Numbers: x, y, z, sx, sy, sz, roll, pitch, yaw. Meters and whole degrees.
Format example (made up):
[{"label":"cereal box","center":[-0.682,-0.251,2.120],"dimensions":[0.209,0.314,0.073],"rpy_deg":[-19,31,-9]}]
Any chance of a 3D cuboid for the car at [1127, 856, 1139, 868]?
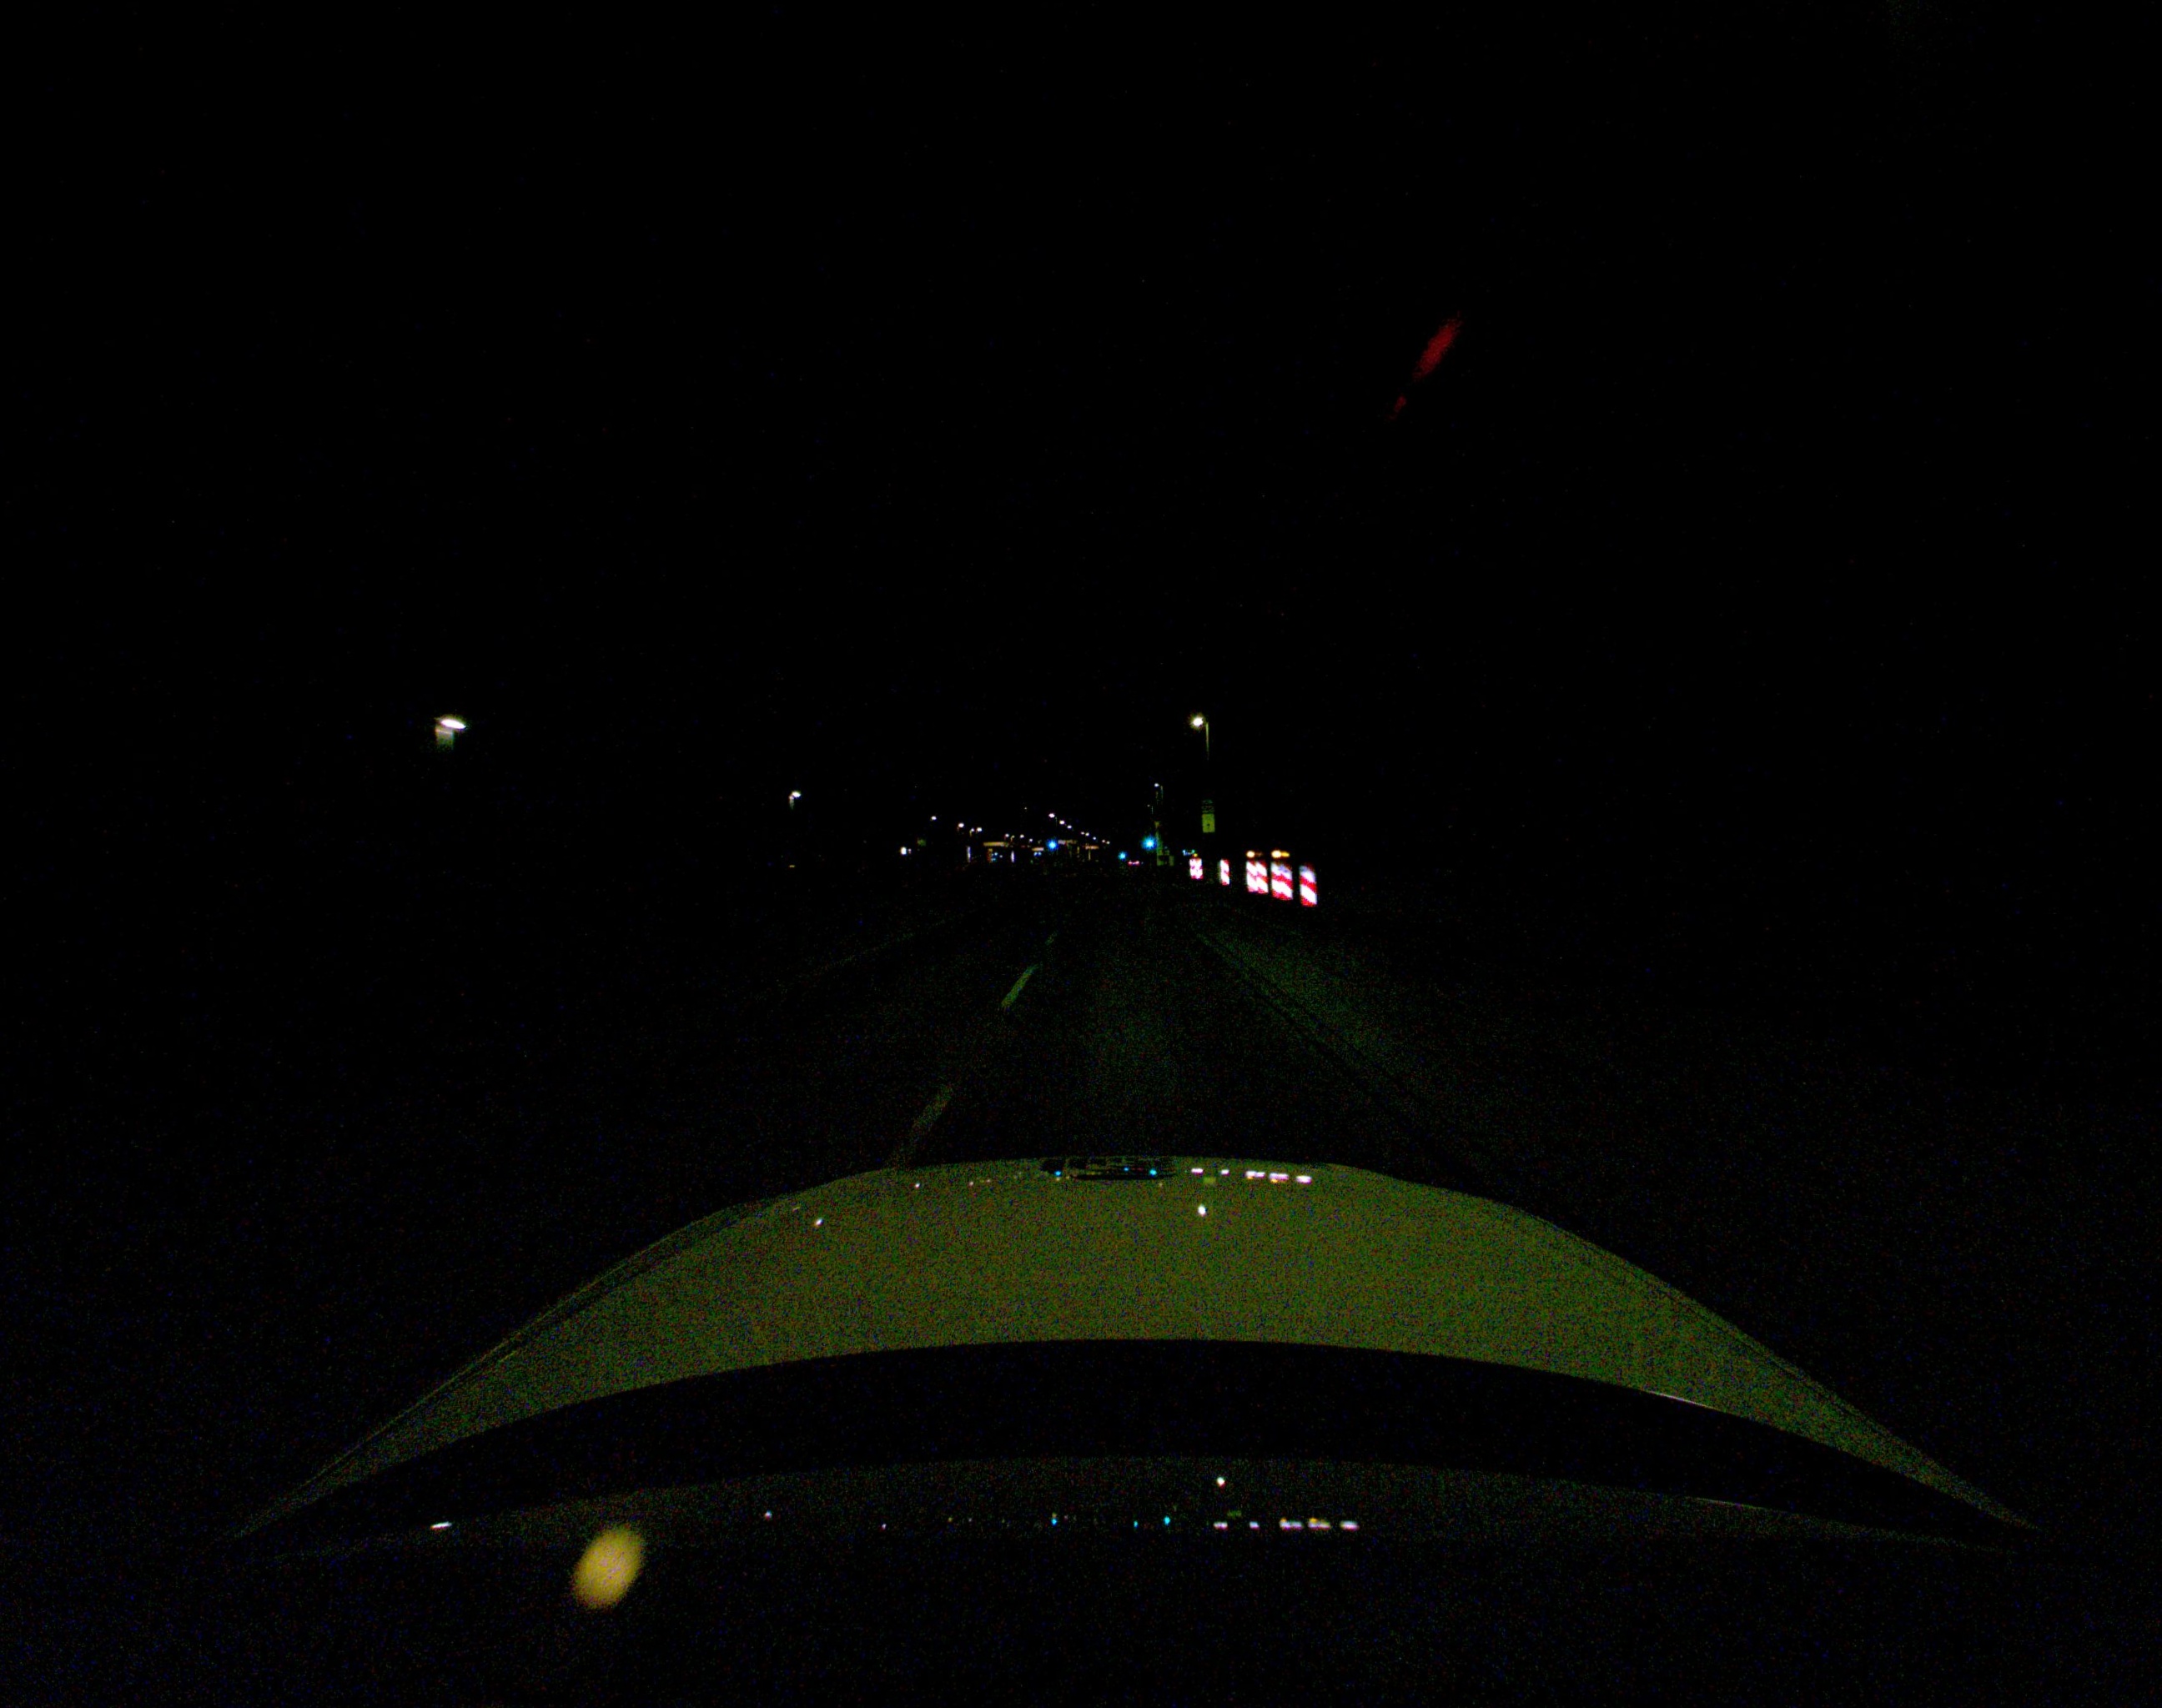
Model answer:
[{"label":"car","center":[9.891,1.525,154.314],"dimensions":[2.079,2.013,4.003],"rpy_deg":[-2,0,3]}]
